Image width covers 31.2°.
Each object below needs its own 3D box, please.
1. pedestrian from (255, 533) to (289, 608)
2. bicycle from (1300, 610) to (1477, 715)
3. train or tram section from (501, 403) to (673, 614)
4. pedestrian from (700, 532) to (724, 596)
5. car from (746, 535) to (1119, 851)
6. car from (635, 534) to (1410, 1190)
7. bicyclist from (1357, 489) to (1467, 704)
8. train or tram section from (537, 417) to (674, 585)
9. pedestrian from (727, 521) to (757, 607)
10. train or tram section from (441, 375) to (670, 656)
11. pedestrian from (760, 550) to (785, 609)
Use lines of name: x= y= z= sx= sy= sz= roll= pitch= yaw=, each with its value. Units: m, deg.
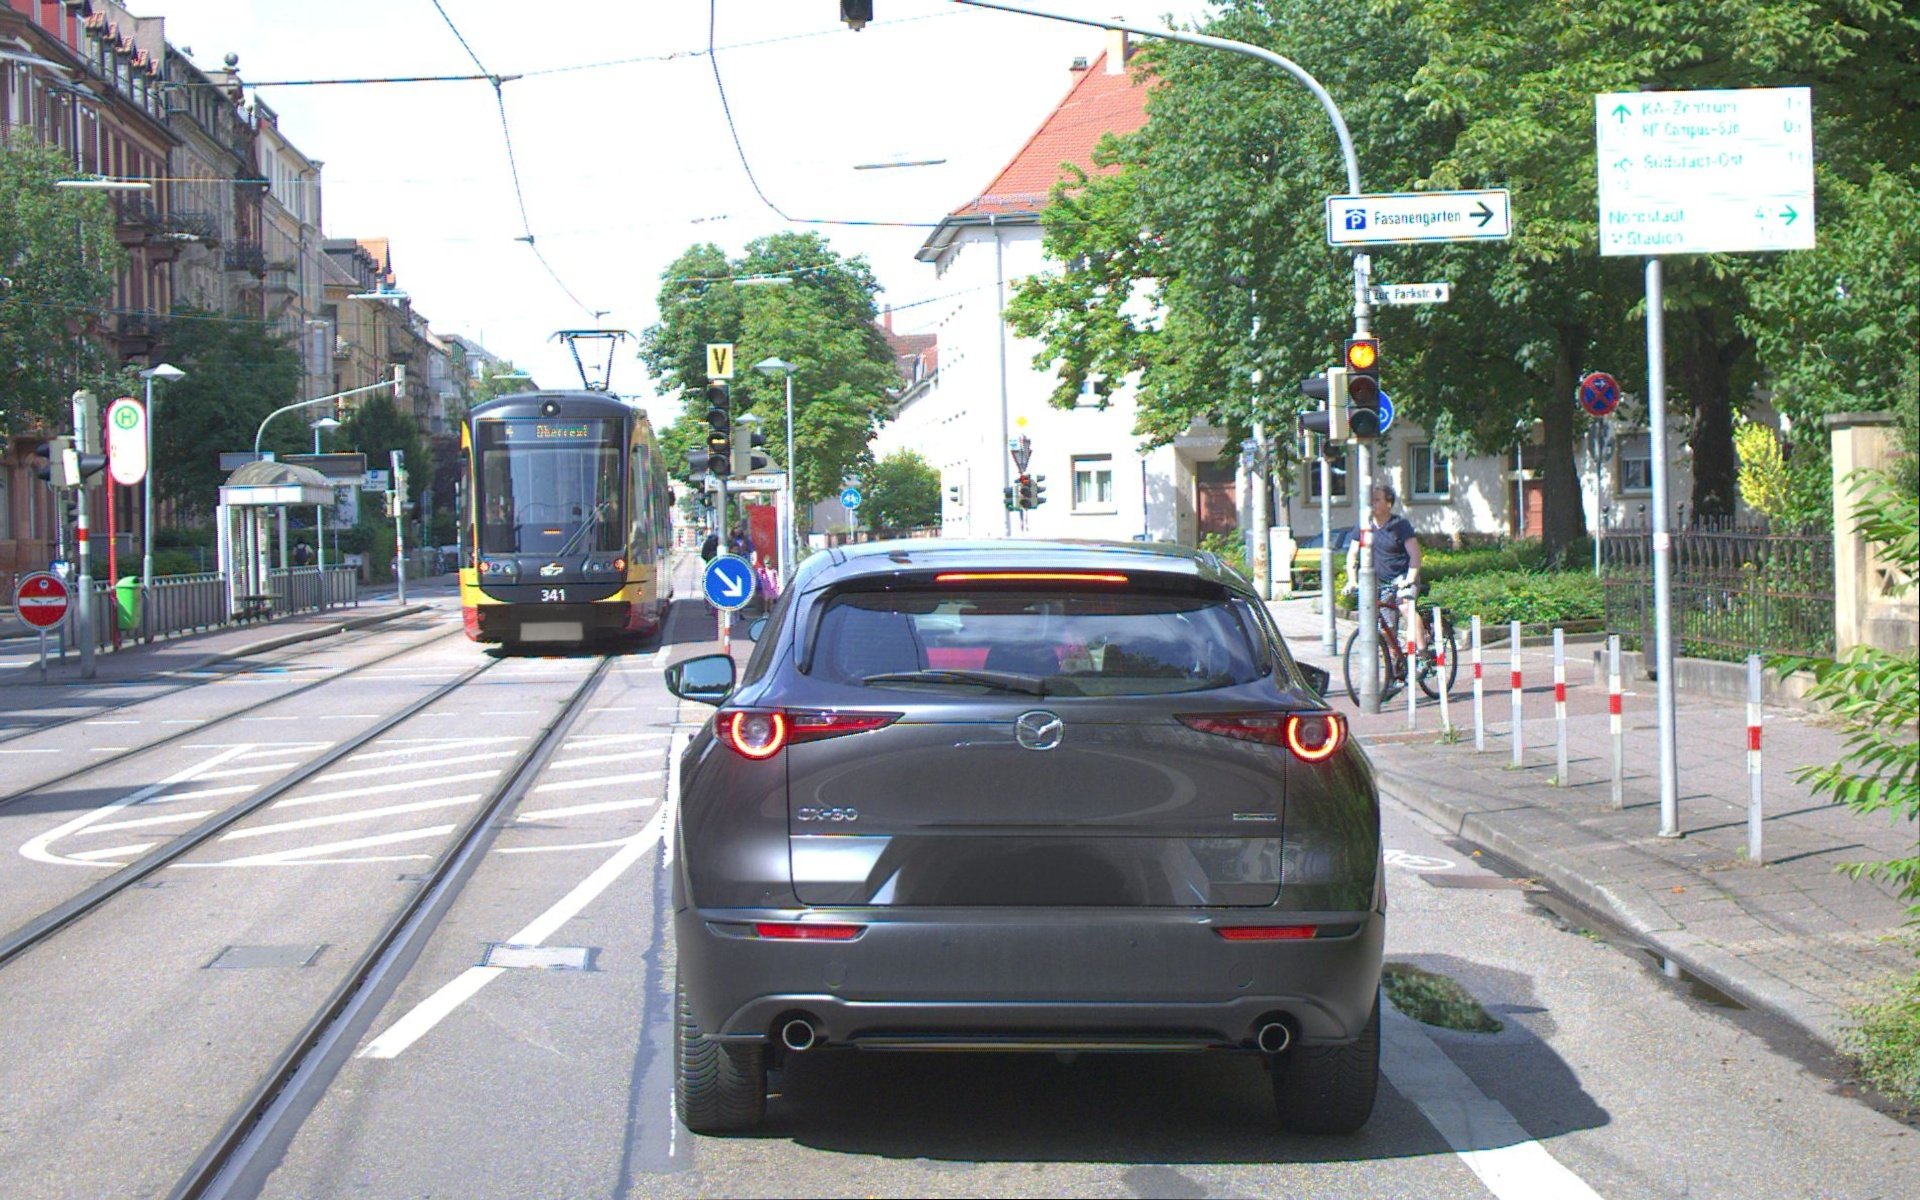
pedestrian: x=-12.920 y=-0.552 z=64.578 sx=0.429 sy=1.394 sz=0.398 roll=-1 pitch=1 yaw=30
bicycle: x=3.657 y=0.519 z=29.257 sx=1.694 sy=0.821 sz=0.494 roll=-2 pitch=1 yaw=-42
train or tram section: x=-6.855 y=-1.798 z=64.847 sx=2.752 sy=3.478 sz=14.411 roll=-1 pitch=2 yaw=-5
pedestrian: x=-4.202 y=-0.615 z=58.153 sx=0.379 sy=1.067 sz=0.474 roll=-1 pitch=1 yaw=-5
car: x=-0.170 y=0.414 z=18.613 sx=1.778 sy=1.494 sz=4.000 roll=1 pitch=1 yaw=-1
car: x=0.109 y=0.573 z=9.989 sx=1.778 sy=1.494 sz=4.000 roll=1 pitch=1 yaw=-1
bicyclist: x=3.821 y=-0.033 z=29.066 sx=0.608 sy=1.786 sz=0.658 roll=-2 pitch=1 yaw=-41
train or tram section: x=-8.024 y=-2.333 z=79.229 sx=2.752 sy=3.478 sz=14.411 roll=-1 pitch=2 yaw=-5
pedestrian: x=-3.691 y=-0.610 z=58.184 sx=0.450 sy=1.429 sz=0.474 roll=-1 pitch=1 yaw=-5
train or tram section: x=-5.698 y=-1.326 z=50.514 sx=2.752 sy=3.478 sz=14.411 roll=-1 pitch=2 yaw=-5
pedestrian: x=-3.183 y=-0.349 z=58.381 sx=0.379 sy=0.981 sz=0.474 roll=-1 pitch=1 yaw=-5
